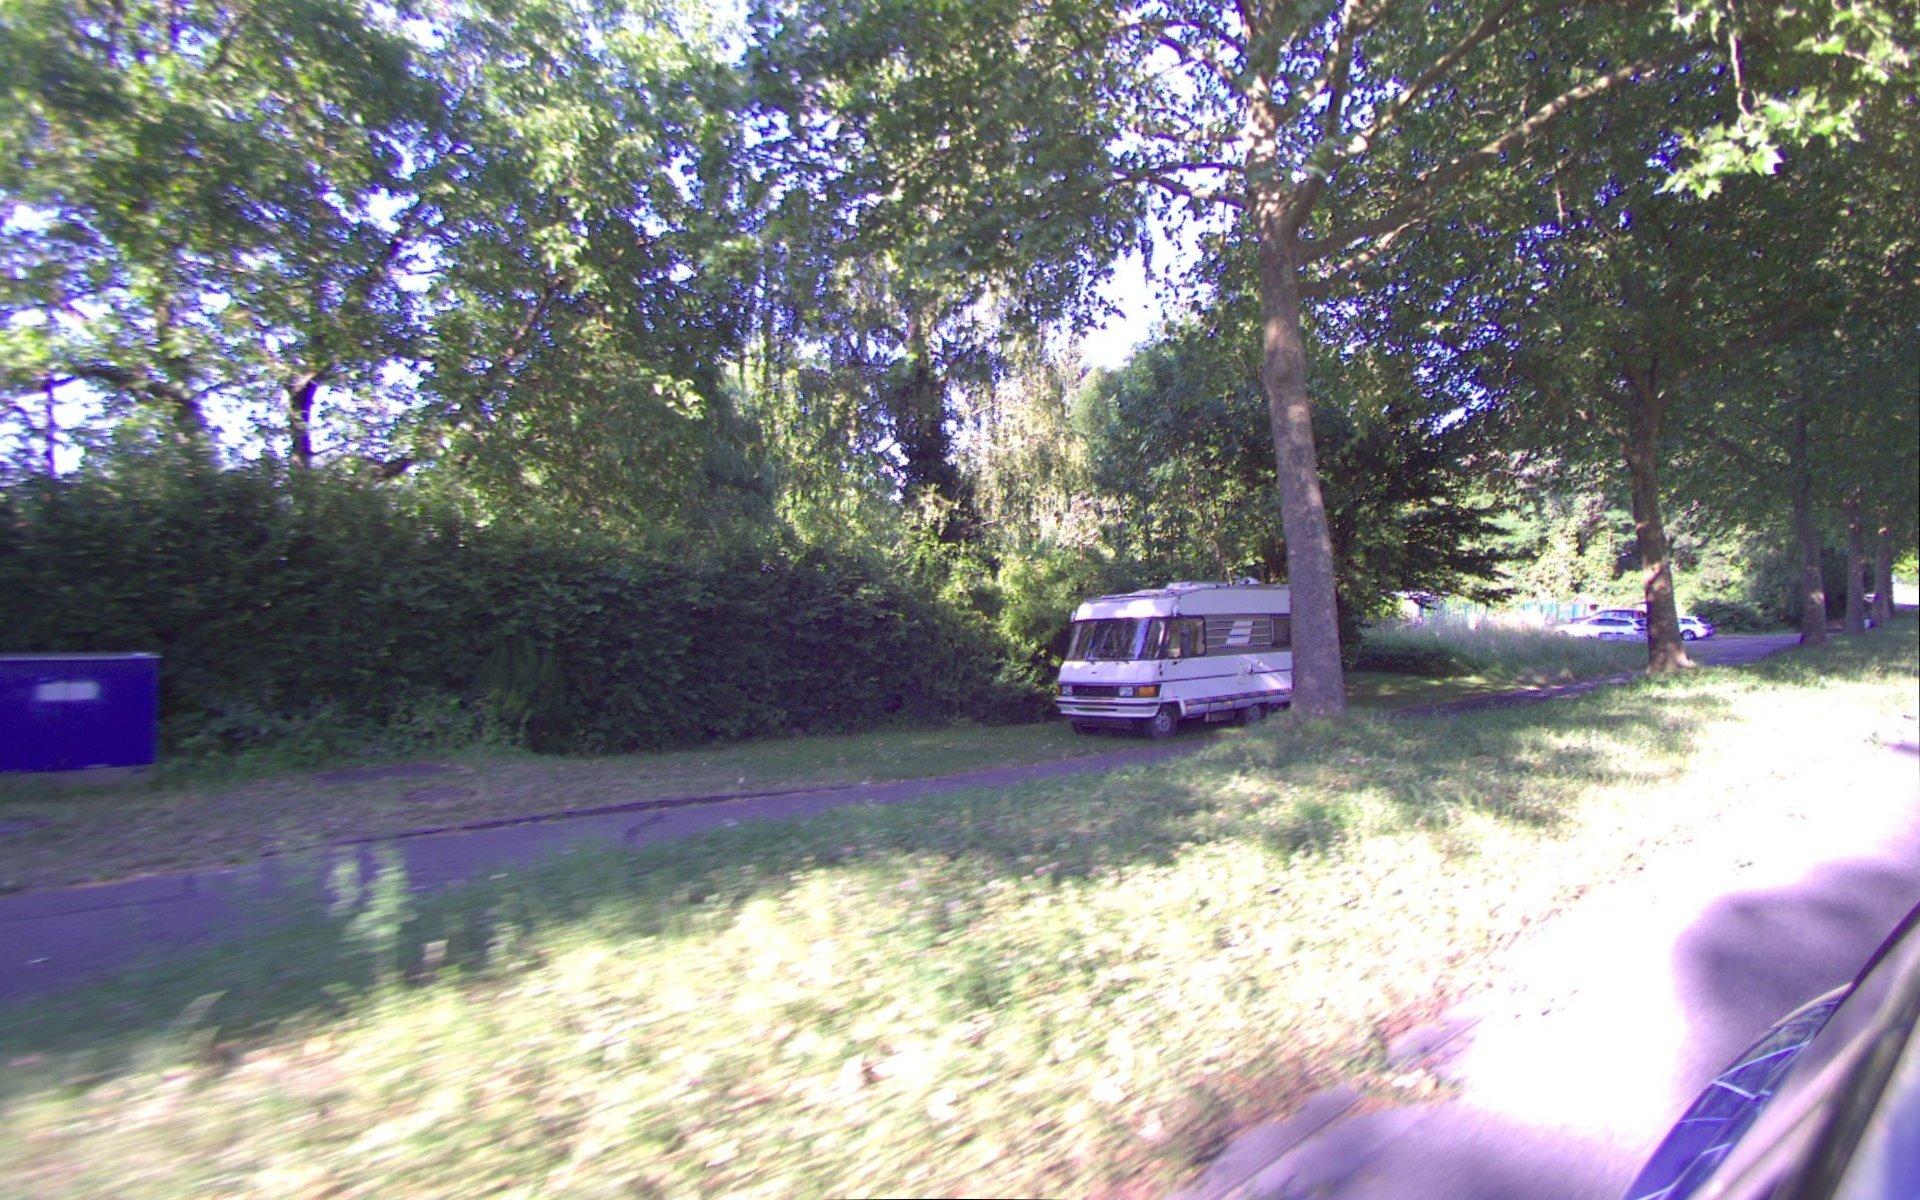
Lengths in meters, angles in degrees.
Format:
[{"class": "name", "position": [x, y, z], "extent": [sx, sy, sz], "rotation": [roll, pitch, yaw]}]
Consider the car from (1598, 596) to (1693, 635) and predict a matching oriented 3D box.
[{"class": "car", "position": [38.531, 0.827, 56.973], "extent": [1.962, 2.039, 4.000], "rotation": [-1, 1, -35]}]

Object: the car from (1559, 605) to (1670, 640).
[{"class": "car", "position": [34.215, 1.154, 53.029], "extent": [1.962, 1.691, 4.516], "rotation": [-1, 1, -35]}]

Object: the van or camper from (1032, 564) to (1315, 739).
[{"class": "van or camper", "position": [4.166, 0.792, 19.085], "extent": [5.587, 2.835, 2.384], "rotation": [-1, 1, -42]}]

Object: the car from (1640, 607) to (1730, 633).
[{"class": "car", "position": [43.346, 1.182, 60.588], "extent": [1.962, 1.404, 4.000], "rotation": [-1, 1, -35]}]
